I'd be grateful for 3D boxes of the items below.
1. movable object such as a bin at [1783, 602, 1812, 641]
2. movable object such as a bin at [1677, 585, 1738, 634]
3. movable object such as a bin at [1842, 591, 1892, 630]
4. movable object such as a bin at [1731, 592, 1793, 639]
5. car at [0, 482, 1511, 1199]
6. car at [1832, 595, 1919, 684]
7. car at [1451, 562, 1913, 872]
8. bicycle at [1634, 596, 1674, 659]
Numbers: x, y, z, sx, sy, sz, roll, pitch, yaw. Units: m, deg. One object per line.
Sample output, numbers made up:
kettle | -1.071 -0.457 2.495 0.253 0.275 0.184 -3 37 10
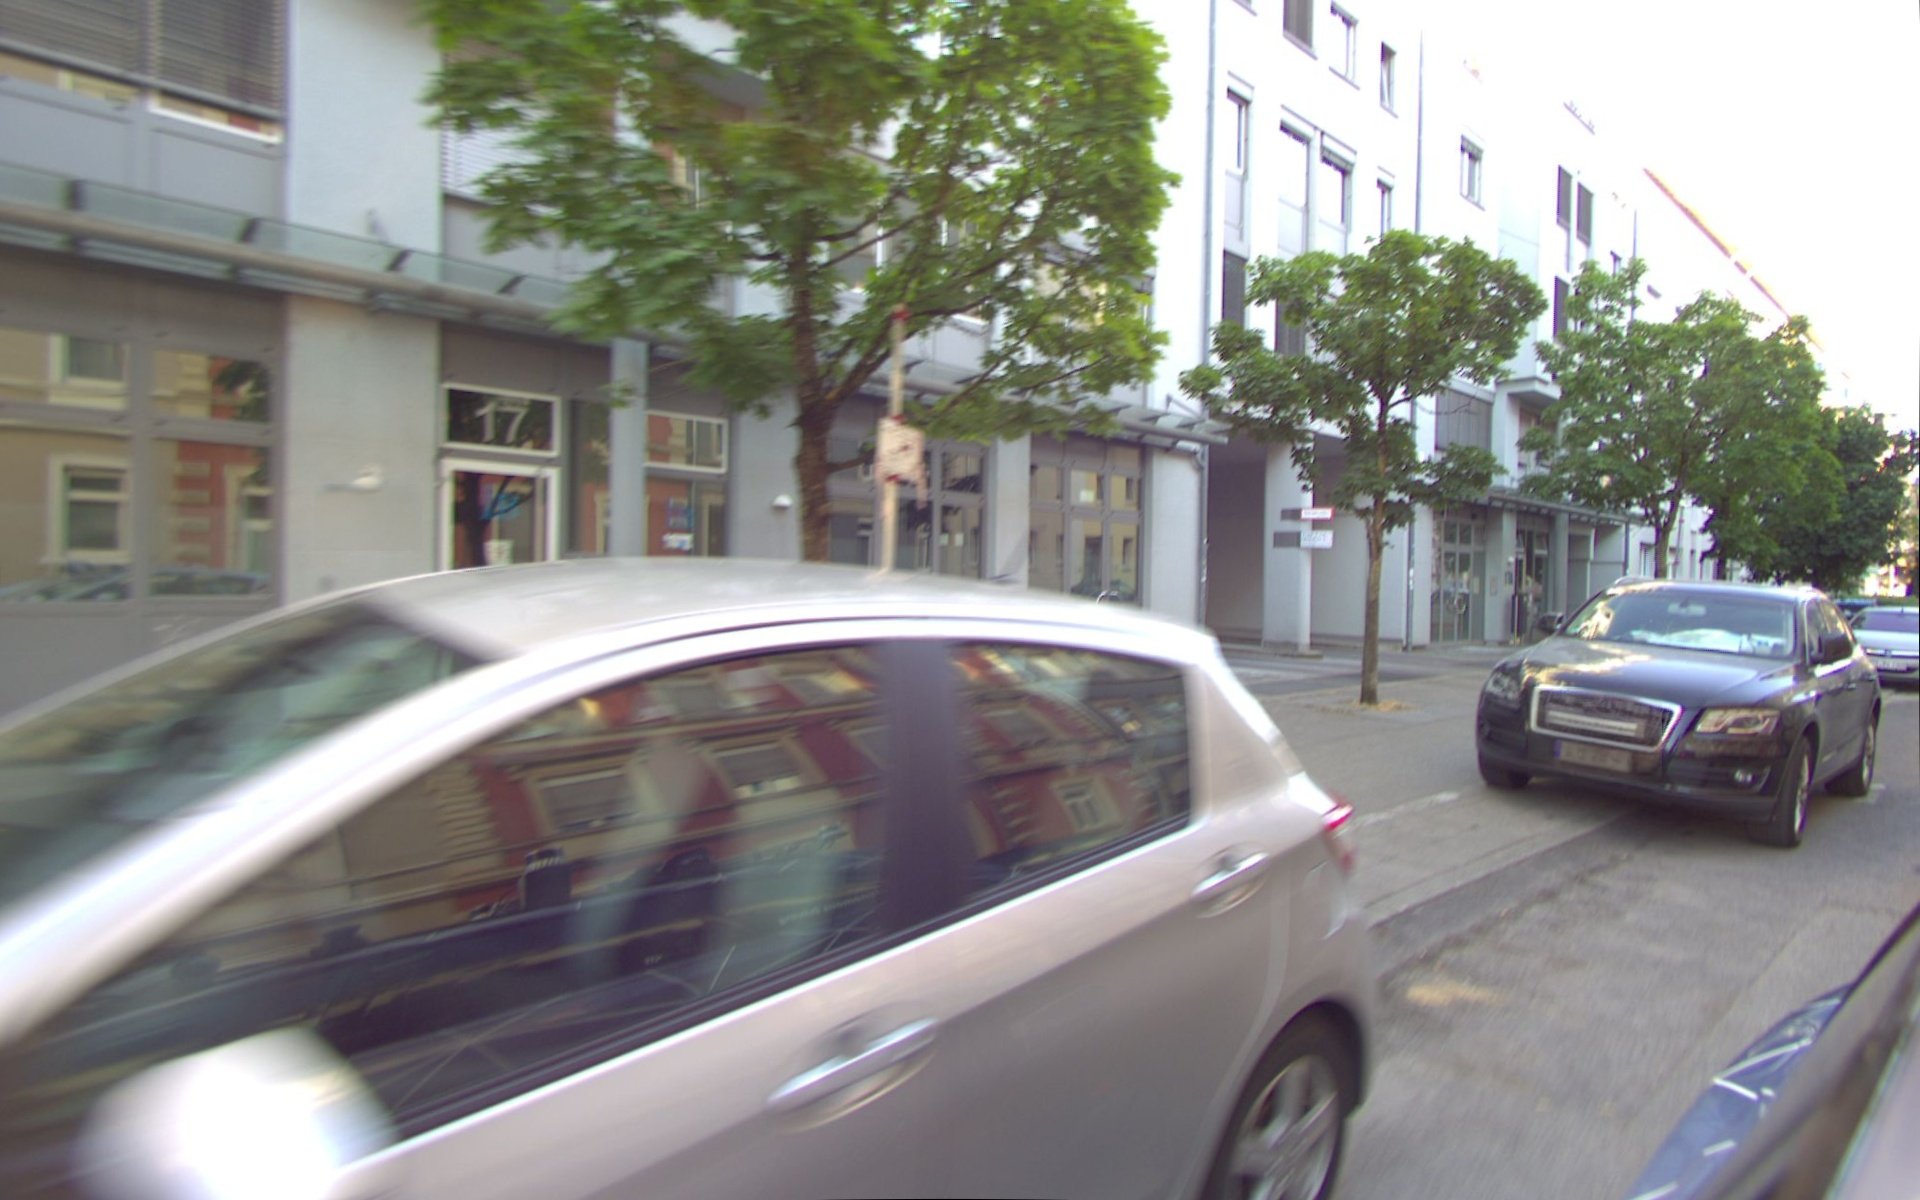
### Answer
movable object such as a bin | 24.616 0.623 29.743 0.615 1.084 0.529 0 2 -42
movable object such as a bin | 23.241 0.284 31.469 1.119 1.454 1.264 0 2 -42
movable object such as a bin | 35.387 0.387 39.494 1.202 1.454 1.287 0 2 -42
movable object such as a bin | 24.274 0.450 30.650 1.119 1.337 1.264 0 2 -42
car | -0.649 0.637 1.949 3.900 1.543 1.680 0 3 -41
car | 17.620 0.676 18.642 4.270 1.446 1.767 0 3 -42
car | 5.636 0.605 7.666 4.358 1.642 1.889 0 3 -42
bicycle | 13.963 0.522 20.356 0.519 1.182 1.717 3 3 38
